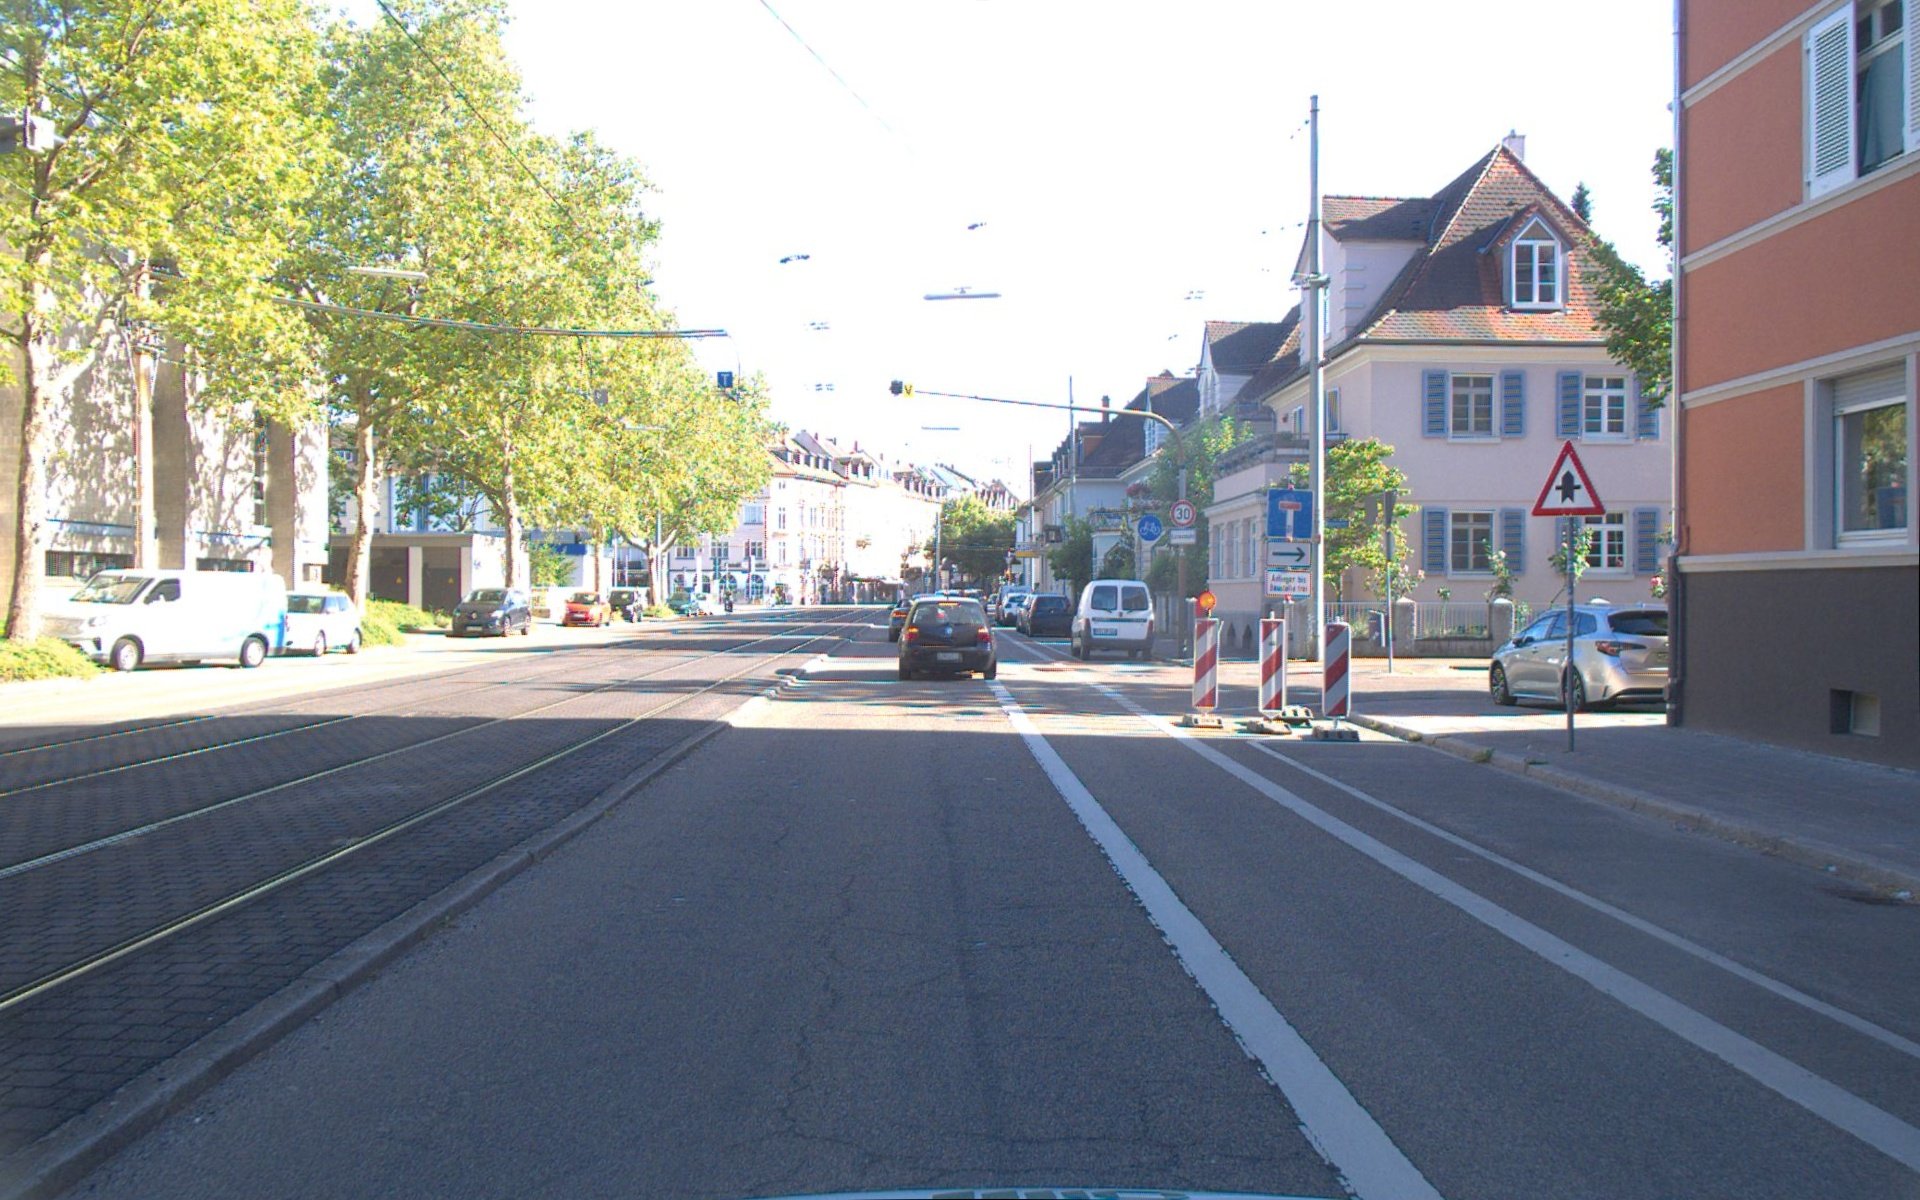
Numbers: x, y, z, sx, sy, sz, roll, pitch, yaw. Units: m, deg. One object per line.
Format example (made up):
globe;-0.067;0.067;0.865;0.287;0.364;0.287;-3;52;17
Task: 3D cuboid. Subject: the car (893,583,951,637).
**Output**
car;-1.138;0.269;50.535;1.713;1.564;3.891;0;1;-1

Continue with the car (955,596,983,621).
car;0.531;0.497;101.604;1.603;1.498;3.728;0;0;-1

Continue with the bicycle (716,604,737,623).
bicycle;-14.845;0.860;105.246;0.895;1.102;3.202;2;1;-1

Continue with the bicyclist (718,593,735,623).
bicyclist;-14.842;0.482;105.228;0.895;1.865;0.960;2;0;-2

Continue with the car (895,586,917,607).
car;-3.931;-0.293;120.914;1.603;1.498;3.728;0;0;-1

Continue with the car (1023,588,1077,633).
car;3.148;0.348;58.490;1.627;1.552;4.035;0;0;-1

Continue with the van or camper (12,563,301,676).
van or camper;-15.598;0.341;32.488;2.017;1.983;5.192;2;1;18

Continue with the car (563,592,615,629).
car;-16.414;0.472;73.273;1.538;1.560;3.571;0;-1;-1

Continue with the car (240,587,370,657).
car;-15.735;0.490;39.946;1.542;1.533;4.089;2;1;-1

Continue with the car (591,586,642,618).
car;-17.064;0.071;82.421;1.756;1.491;3.834;3;0;-1

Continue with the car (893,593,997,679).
car;-0.327;0.586;29.518;1.713;1.399;3.998;0;1;-3

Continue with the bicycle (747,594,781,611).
bicycle;-15.930;0.196;134.401;2.687;1.284;0.706;2;0;-2

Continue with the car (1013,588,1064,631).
car;2.955;0.328;62.968;1.713;1.564;3.955;0;1;-1

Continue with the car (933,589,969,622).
car;-0.431;0.250;77.687;1.603;1.498;3.728;0;0;-1

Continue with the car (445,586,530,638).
car;-16.168;0.385;56.822;1.849;1.695;3.999;0;0;-1

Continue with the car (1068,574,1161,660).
car;3.572;0.354;38.738;1.723;1.870;3.547;2;1;-1

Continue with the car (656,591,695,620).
car;-17.509;0.333;101.959;1.846;1.698;3.803;2;1;-2

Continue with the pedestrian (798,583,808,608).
pedestrian;-17.232;-0.490;181.378;0.937;2.705;1.098;2;0;-4

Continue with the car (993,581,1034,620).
car;2.591;0.016;81.093;1.780;1.830;3.999;0;0;-1

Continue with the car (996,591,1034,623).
car;2.500;0.310;76.071;1.548;1.399;3.999;0;0;-1

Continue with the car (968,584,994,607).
car;1.417;-0.301;112.698;1.603;1.498;3.728;0;0;-1

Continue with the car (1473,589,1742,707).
car;8.621;0.663;22.473;1.668;1.413;4.512;-1;-2;-3
